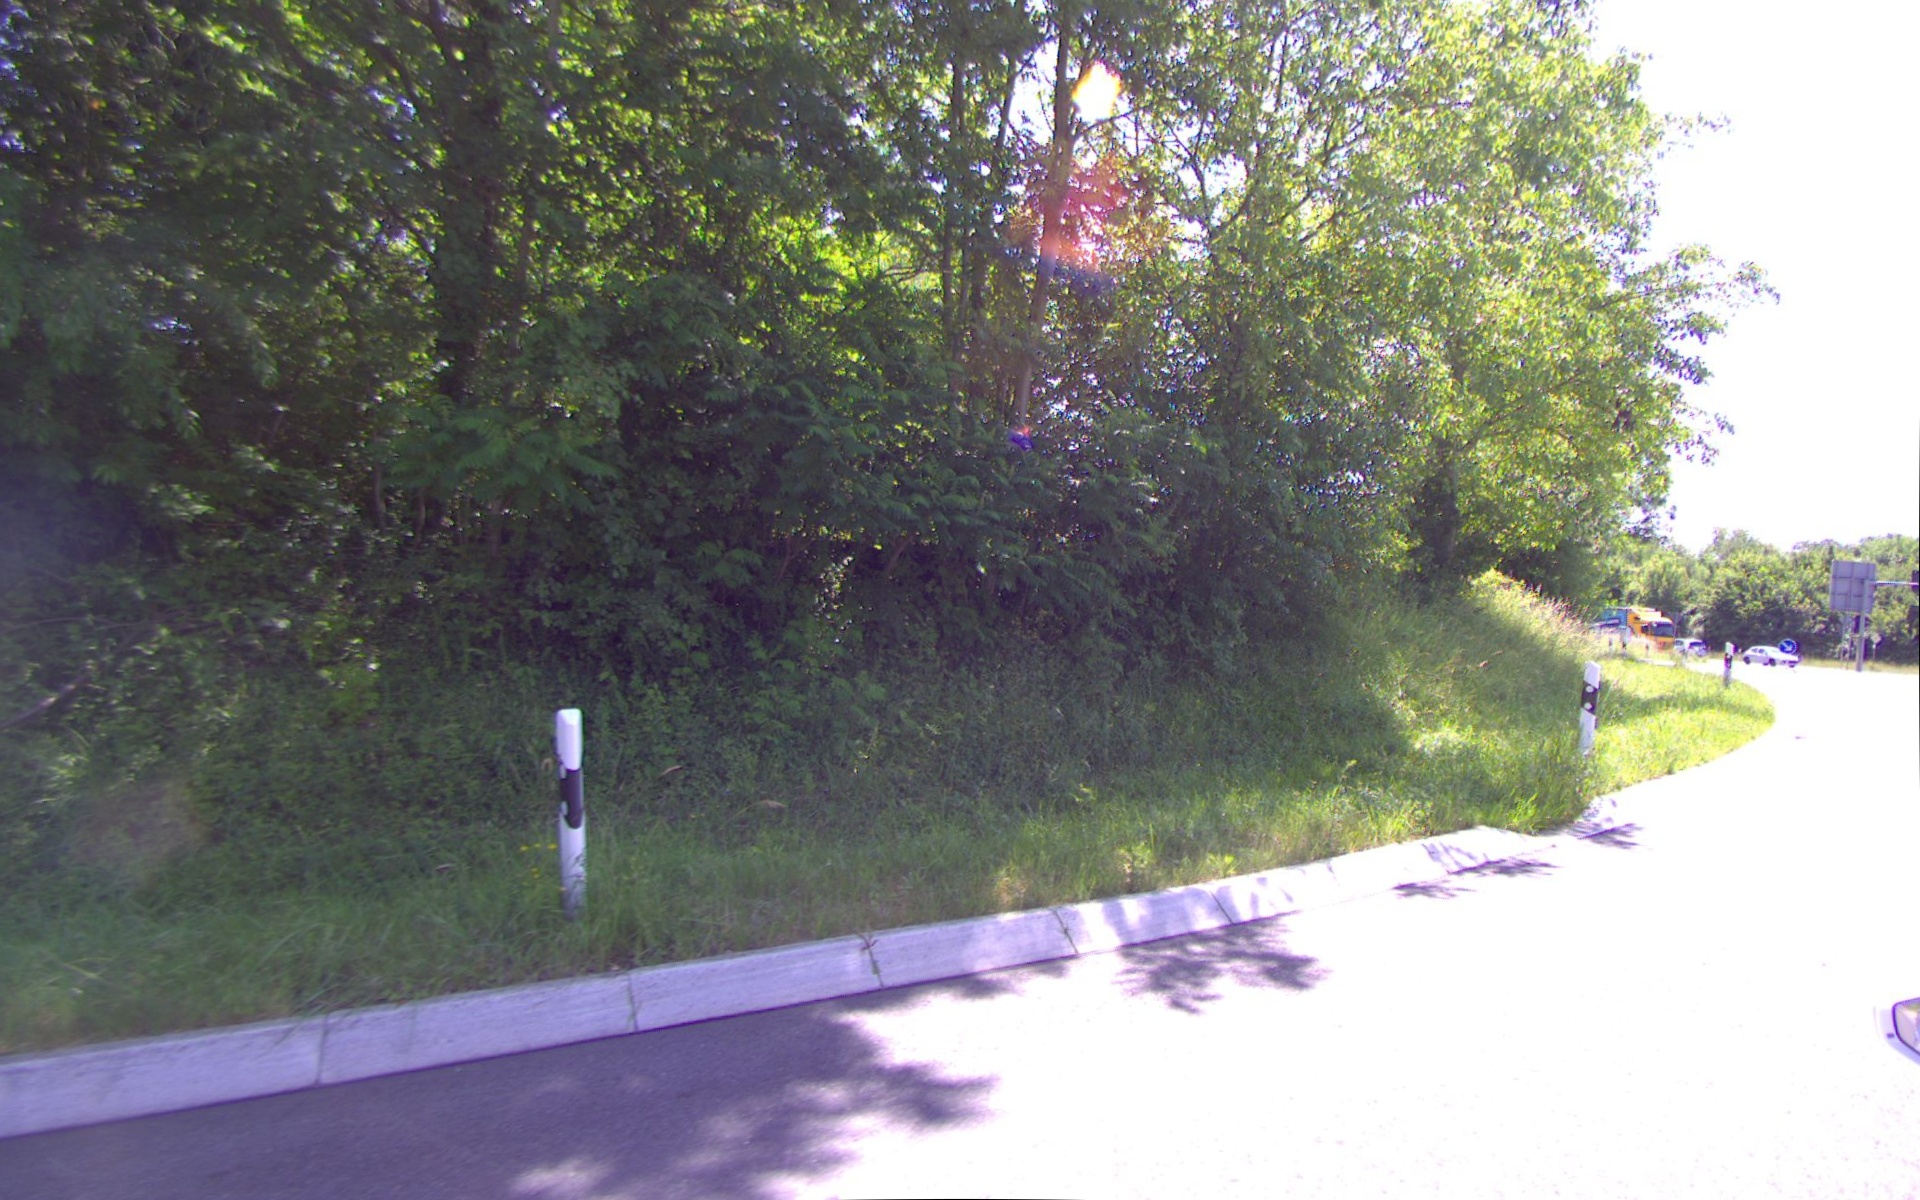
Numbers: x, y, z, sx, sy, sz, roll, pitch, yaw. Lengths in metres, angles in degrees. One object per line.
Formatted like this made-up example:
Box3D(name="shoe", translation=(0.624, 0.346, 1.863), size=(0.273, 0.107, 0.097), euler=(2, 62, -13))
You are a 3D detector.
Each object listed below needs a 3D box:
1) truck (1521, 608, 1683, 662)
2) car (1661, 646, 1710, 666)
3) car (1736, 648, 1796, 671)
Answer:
Box3D(name="truck", translation=(57.464, 2.931, 91.010), size=(2.797, 4.186, 16.802), euler=(3, 0, -4))
Box3D(name="car", translation=(65.556, 5.072, 90.780), size=(1.598, 1.728, 3.656), euler=(0, -2, -4))
Box3D(name="car", translation=(61.443, 4.527, 76.621), size=(1.626, 1.596, 3.916), euler=(1, -1, 4))
